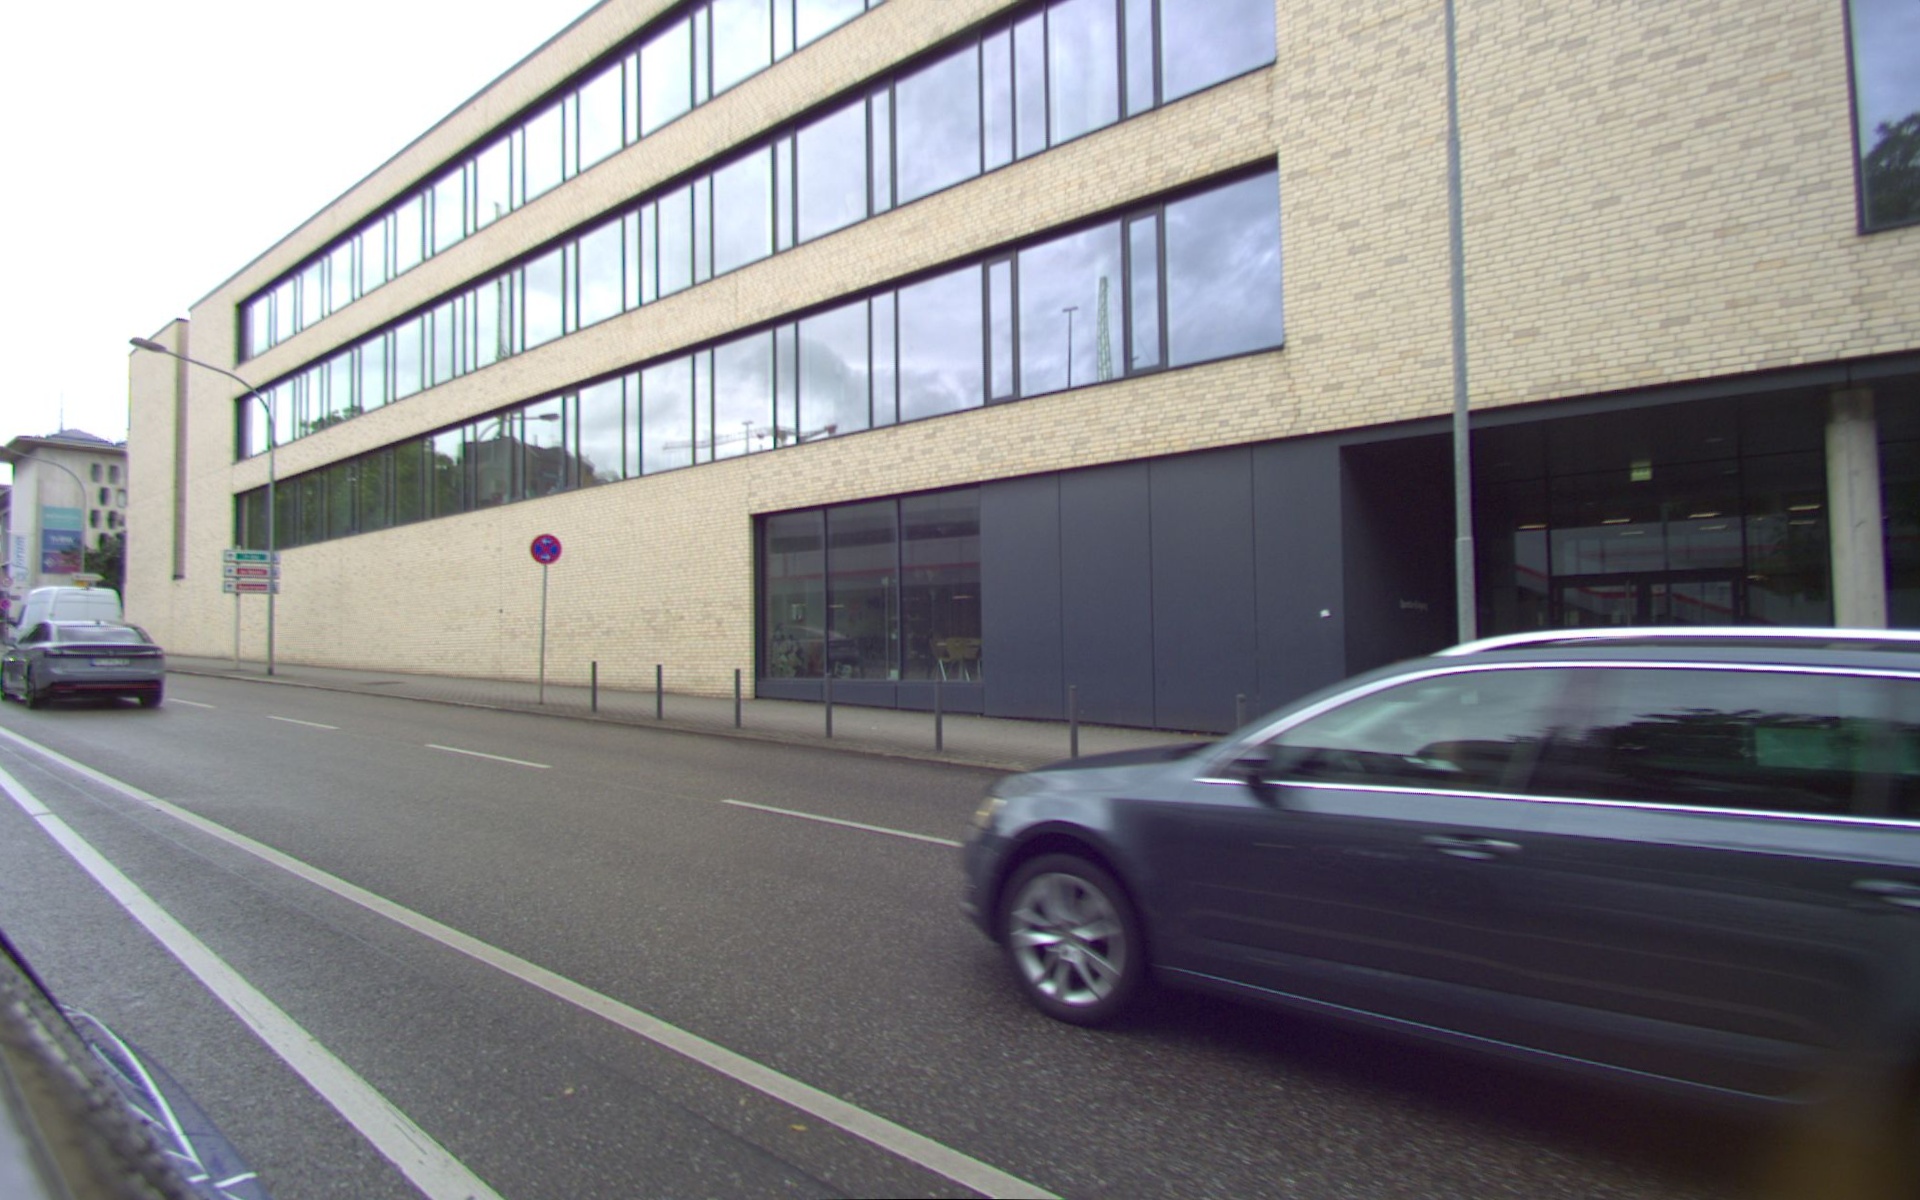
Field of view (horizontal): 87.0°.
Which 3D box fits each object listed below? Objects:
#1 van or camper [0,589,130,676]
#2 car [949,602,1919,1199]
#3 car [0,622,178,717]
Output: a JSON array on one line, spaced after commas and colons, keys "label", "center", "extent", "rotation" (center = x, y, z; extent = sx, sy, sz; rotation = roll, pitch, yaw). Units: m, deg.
[{"label": "van or camper", "center": [-29.309, 1.053, 32.981], "extent": [5.898, 2.602, 2.082], "rotation": [-1, -3, 37]}, {"label": "car", "center": [2.195, 0.797, 3.379], "extent": [4.283, 1.473, 1.794], "rotation": [-1, -4, 39]}, {"label": "car", "center": [-16.004, 1.181, 18.336], "extent": [4.557, 1.509, 1.864], "rotation": [-1, -3, 39]}]
